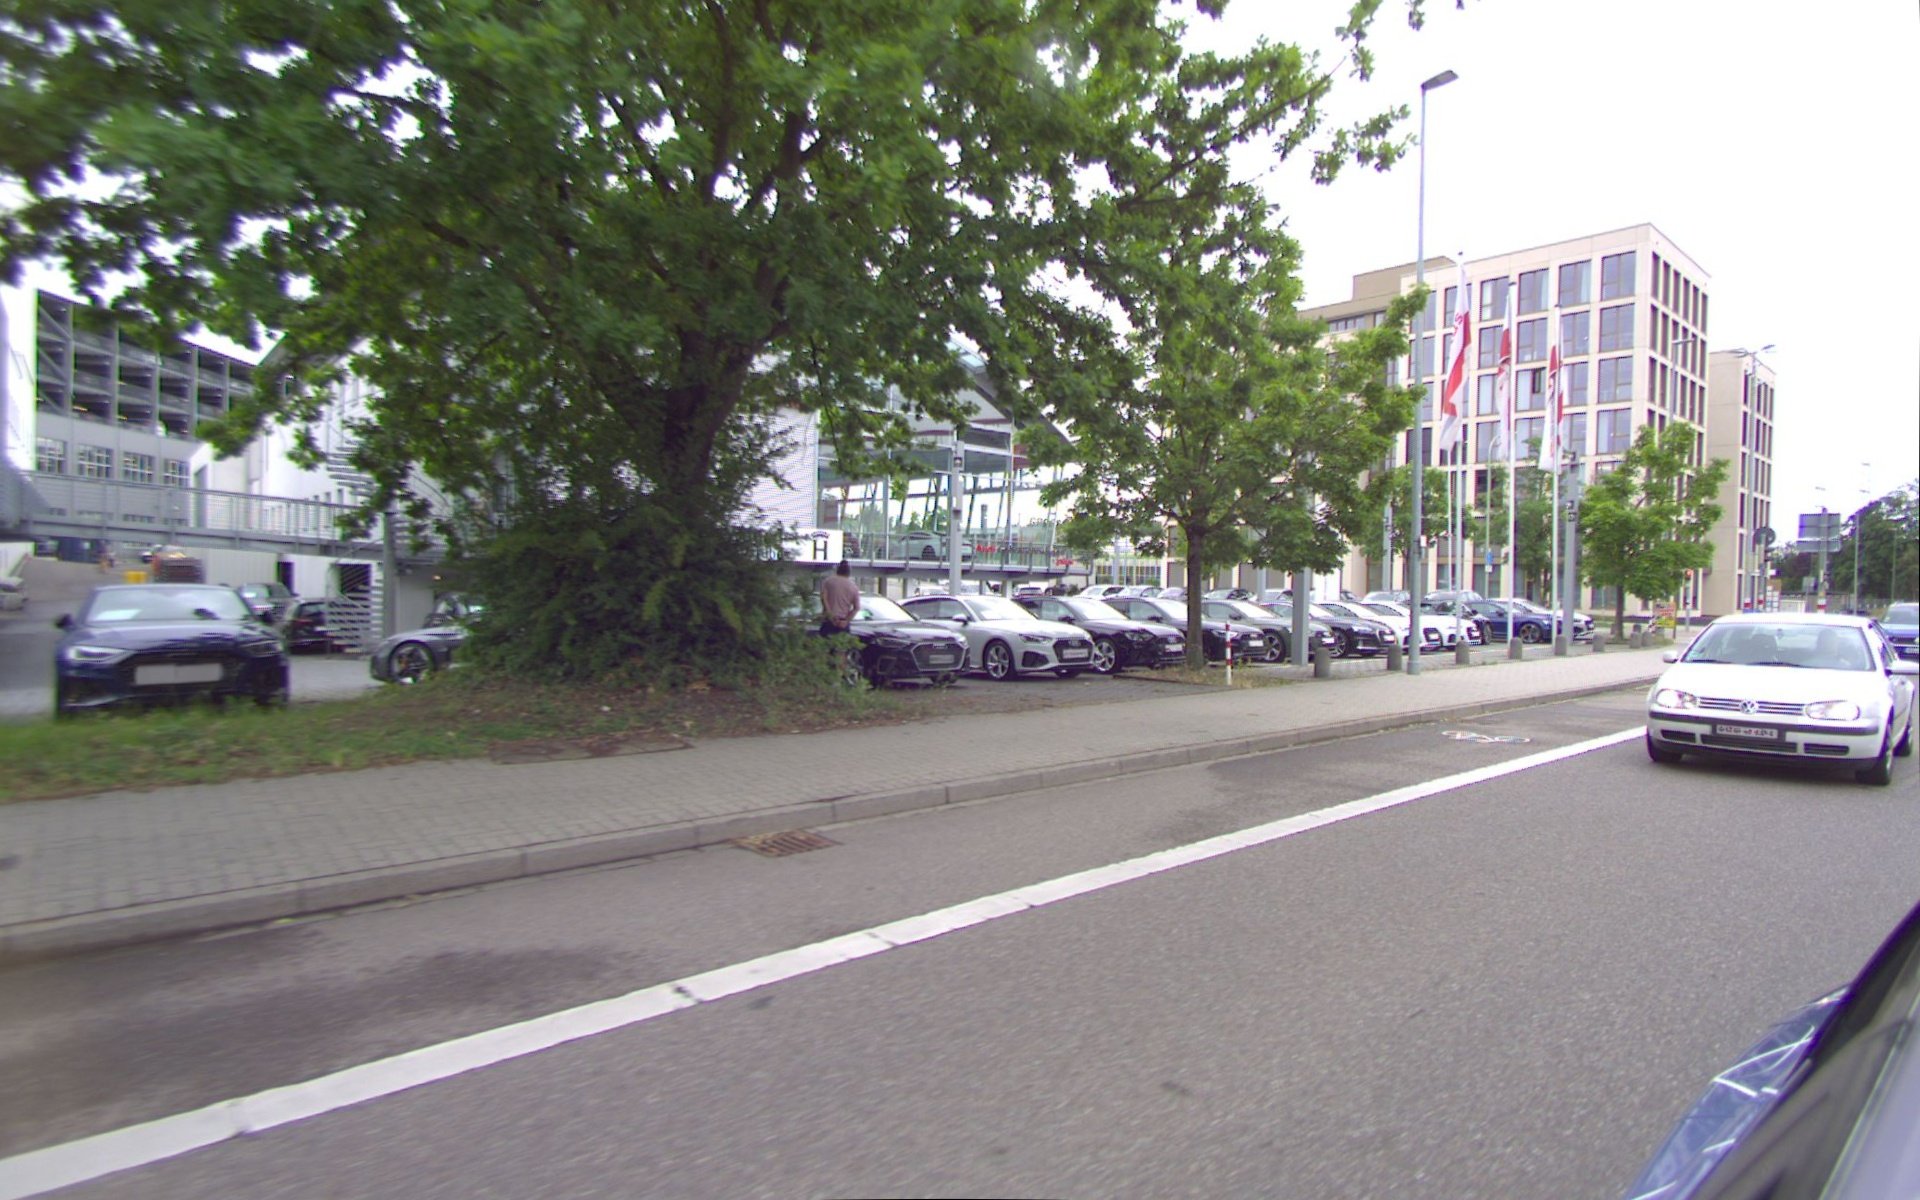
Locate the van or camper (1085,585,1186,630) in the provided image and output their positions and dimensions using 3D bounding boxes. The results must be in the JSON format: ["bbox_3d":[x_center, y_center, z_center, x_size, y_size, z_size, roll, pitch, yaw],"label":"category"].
[{"bbox_3d":[7.136,0.311,41.029,3.930,1.699,1.997,3,-1,-41],"label":"van or camper"}]

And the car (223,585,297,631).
[{"bbox_3d":[-26.497,0.259,38.250,1.838,1.655,4.129,0,1,-41],"label":"car"}]

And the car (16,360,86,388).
[{"bbox_3d":[-75.563,-18.753,84.153,3.920,1.688,2.002,2,0,-5],"label":"car"}]

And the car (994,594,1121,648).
[{"bbox_3d":[3.286,0.697,34.835,1.778,1.717,4.312,3,-1,-41],"label":"car"}]

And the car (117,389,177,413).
[{"bbox_3d":[-77.393,-18.960,96.395,3.920,1.688,2.002,2,0,-5],"label":"car"}]

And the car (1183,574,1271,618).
[{"bbox_3d":[13.075,-0.239,49.414,4.710,2.038,1.995,-2,2,-44],"label":"car"}]

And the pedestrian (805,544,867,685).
[{"bbox_3d":[-1.725,0.198,14.063,0.704,1.895,0.674,0,-1,-22],"label":"pedestrian"}]

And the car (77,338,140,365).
[{"bbox_3d":[-76.666,-22.376,91.156,3.920,1.688,2.002,2,0,-5],"label":"car"}]

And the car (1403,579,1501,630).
[{"bbox_3d":[20.152,0.130,41.371,4.706,1.886,1.996,-2,2,-42],"label":"car"}]

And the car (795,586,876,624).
[{"bbox_3d":[-6.602,0.277,53.855,3.932,1.861,1.756,3,-1,-43],"label":"car"}]

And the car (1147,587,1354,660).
[{"bbox_3d":[6.522,0.535,23.053,1.875,1.505,4.183,1,-2,-41],"label":"car"}]

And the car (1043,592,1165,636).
[{"bbox_3d":[5.202,0.568,36.967,1.894,1.505,4.256,3,-3,-40],"label":"car"}]

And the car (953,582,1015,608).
[{"bbox_3d":[1.585,-0.353,67.637,1.965,1.638,3.994,3,-1,-41],"label":"car"}]

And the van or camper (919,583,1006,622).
[{"bbox_3d":[0.152,0.117,49.033,3.930,1.733,1.844,3,-1,-41],"label":"van or camper"}]

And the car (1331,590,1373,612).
[{"bbox_3d":[28.170,0.066,72.789,1.857,1.571,4.124,1,0,8],"label":"car"}]

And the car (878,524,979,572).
[{"bbox_3d":[-1.295,-2.007,40.059,1.794,1.683,3.992,3,-1,-42],"label":"car"}]

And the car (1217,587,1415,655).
[{"bbox_3d":[8.614,0.525,24.766,1.838,1.505,4.225,1,-2,-40],"label":"car"}]

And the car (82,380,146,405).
[{"bbox_3d":[-76.334,-18.686,91.341,3.920,1.688,2.002,2,0,-5],"label":"car"}]

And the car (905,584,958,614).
[{"bbox_3d":[-1.713,-0.062,58.772,1.882,1.679,4.455,0,0,-18],"label":"car"}]

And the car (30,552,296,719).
[{"bbox_3d":[-8.454,0.493,10.681,1.838,1.412,4.127,3,-7,-41],"label":"car"}]

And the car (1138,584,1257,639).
[{"bbox_3d":[9.086,0.398,38.553,4.732,1.964,1.998,0,1,-40],"label":"car"}]

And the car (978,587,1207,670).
[{"bbox_3d":[2.421,0.543,19.350,1.869,1.409,4.160,1,-2,-41],"label":"car"}]

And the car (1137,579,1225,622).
[{"bbox_3d":[11.319,-0.030,51.618,4.826,2.038,1.996,-2,2,-42],"label":"car"}]

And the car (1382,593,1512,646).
[{"bbox_3d":[15.074,0.575,31.218,4.671,1.505,1.890,0,-2,-41],"label":"car"}]

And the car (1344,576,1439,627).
[{"bbox_3d":[18.521,0.022,43.355,4.636,2.038,1.996,-2,2,-42],"label":"car"}]

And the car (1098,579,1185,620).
[{"bbox_3d":[9.677,-0.087,53.785,4.826,2.038,1.996,-2,2,-42],"label":"car"}]

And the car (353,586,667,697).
[{"bbox_3d":[-7.028,0.626,16.048,4.202,1.518,1.765,2,-1,6],"label":"car"}]

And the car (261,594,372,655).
[{"bbox_3d":[-17.894,0.605,28.053,1.840,1.536,4.126,0,1,-44],"label":"car"}]

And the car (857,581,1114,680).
[{"bbox_3d":[0.300,0.510,17.614,1.815,1.491,4.655,1,-2,-41],"label":"car"}]

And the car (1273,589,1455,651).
[{"bbox_3d":[10.530,0.528,26.581,1.844,1.505,4.038,1,-2,-40],"label":"car"}]

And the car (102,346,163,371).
[{"bbox_3d":[-76.844,-22.447,94.034,3.920,1.688,2.002,2,0,-5],"label":"car"}]

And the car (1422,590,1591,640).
[{"bbox_3d":[18.117,0.516,33.696,2.035,1.505,4.507,-1,-1,-42],"label":"car"}]

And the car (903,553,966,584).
[{"bbox_3d":[-1.706,-2.014,65.500,1.965,1.846,3.994,3,-1,-41],"label":"car"}]

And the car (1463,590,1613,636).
[{"bbox_3d":[20.244,0.433,35.578,1.842,1.505,4.223,0,0,-40],"label":"car"}]

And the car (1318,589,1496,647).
[{"bbox_3d":[12.440,0.515,28.396,1.820,1.505,4.192,1,-2,-40],"label":"car"}]

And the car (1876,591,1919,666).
[{"bbox_3d":[23.108,0.632,23.995,1.843,1.642,4.262,1,1,45],"label":"car"}]

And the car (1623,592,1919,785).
[{"bbox_3d":[8.205,0.722,9.916,3.934,1.496,1.836,1,0,-40],"label":"car"}]

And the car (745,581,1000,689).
[{"bbox_3d":[-1.480,0.509,15.695,1.823,1.439,4.210,1,-1,-41],"label":"car"}]

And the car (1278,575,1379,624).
[{"bbox_3d":[16.691,-0.069,45.739,4.953,2.038,2.262,-2,2,-42],"label":"car"}]

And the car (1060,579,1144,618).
[{"bbox_3d":[7.902,-0.122,56.003,4.826,2.038,1.996,-2,2,-42],"label":"car"}]

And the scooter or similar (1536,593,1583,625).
[{"bbox_3d":[24.460,0.371,41.312,0.547,1.234,1.563,4,0,-23],"label":"scooter or similar"}]

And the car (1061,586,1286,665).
[{"bbox_3d":[4.346,0.533,21.172,1.861,1.489,4.371,1,-2,-41],"label":"car"}]

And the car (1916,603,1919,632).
[{"bbox_3d":[53.344,0.992,54.878,4.077,1.509,1.869,3,-1,-41],"label":"car"}]

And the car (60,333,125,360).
[{"bbox_3d":[-76.201,-22.237,88.933,3.920,1.688,2.002,2,0,-5],"label":"car"}]

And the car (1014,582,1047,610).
[{"bbox_3d":[4.291,-0.254,62.212,1.887,1.679,4.444,0,0,2],"label":"car"}]

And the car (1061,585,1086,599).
[{"bbox_3d":[12.573,-0.874,111.768,1.476,1.349,3.200,1,-1,34],"label":"car"}]

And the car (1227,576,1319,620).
[{"bbox_3d":[14.774,-0.121,47.580,4.881,1.899,2.049,-2,2,-44],"label":"car"}]

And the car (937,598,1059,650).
[{"bbox_3d":[1.176,0.750,33.049,1.697,1.562,3.994,3,-1,-41],"label":"car"}]
